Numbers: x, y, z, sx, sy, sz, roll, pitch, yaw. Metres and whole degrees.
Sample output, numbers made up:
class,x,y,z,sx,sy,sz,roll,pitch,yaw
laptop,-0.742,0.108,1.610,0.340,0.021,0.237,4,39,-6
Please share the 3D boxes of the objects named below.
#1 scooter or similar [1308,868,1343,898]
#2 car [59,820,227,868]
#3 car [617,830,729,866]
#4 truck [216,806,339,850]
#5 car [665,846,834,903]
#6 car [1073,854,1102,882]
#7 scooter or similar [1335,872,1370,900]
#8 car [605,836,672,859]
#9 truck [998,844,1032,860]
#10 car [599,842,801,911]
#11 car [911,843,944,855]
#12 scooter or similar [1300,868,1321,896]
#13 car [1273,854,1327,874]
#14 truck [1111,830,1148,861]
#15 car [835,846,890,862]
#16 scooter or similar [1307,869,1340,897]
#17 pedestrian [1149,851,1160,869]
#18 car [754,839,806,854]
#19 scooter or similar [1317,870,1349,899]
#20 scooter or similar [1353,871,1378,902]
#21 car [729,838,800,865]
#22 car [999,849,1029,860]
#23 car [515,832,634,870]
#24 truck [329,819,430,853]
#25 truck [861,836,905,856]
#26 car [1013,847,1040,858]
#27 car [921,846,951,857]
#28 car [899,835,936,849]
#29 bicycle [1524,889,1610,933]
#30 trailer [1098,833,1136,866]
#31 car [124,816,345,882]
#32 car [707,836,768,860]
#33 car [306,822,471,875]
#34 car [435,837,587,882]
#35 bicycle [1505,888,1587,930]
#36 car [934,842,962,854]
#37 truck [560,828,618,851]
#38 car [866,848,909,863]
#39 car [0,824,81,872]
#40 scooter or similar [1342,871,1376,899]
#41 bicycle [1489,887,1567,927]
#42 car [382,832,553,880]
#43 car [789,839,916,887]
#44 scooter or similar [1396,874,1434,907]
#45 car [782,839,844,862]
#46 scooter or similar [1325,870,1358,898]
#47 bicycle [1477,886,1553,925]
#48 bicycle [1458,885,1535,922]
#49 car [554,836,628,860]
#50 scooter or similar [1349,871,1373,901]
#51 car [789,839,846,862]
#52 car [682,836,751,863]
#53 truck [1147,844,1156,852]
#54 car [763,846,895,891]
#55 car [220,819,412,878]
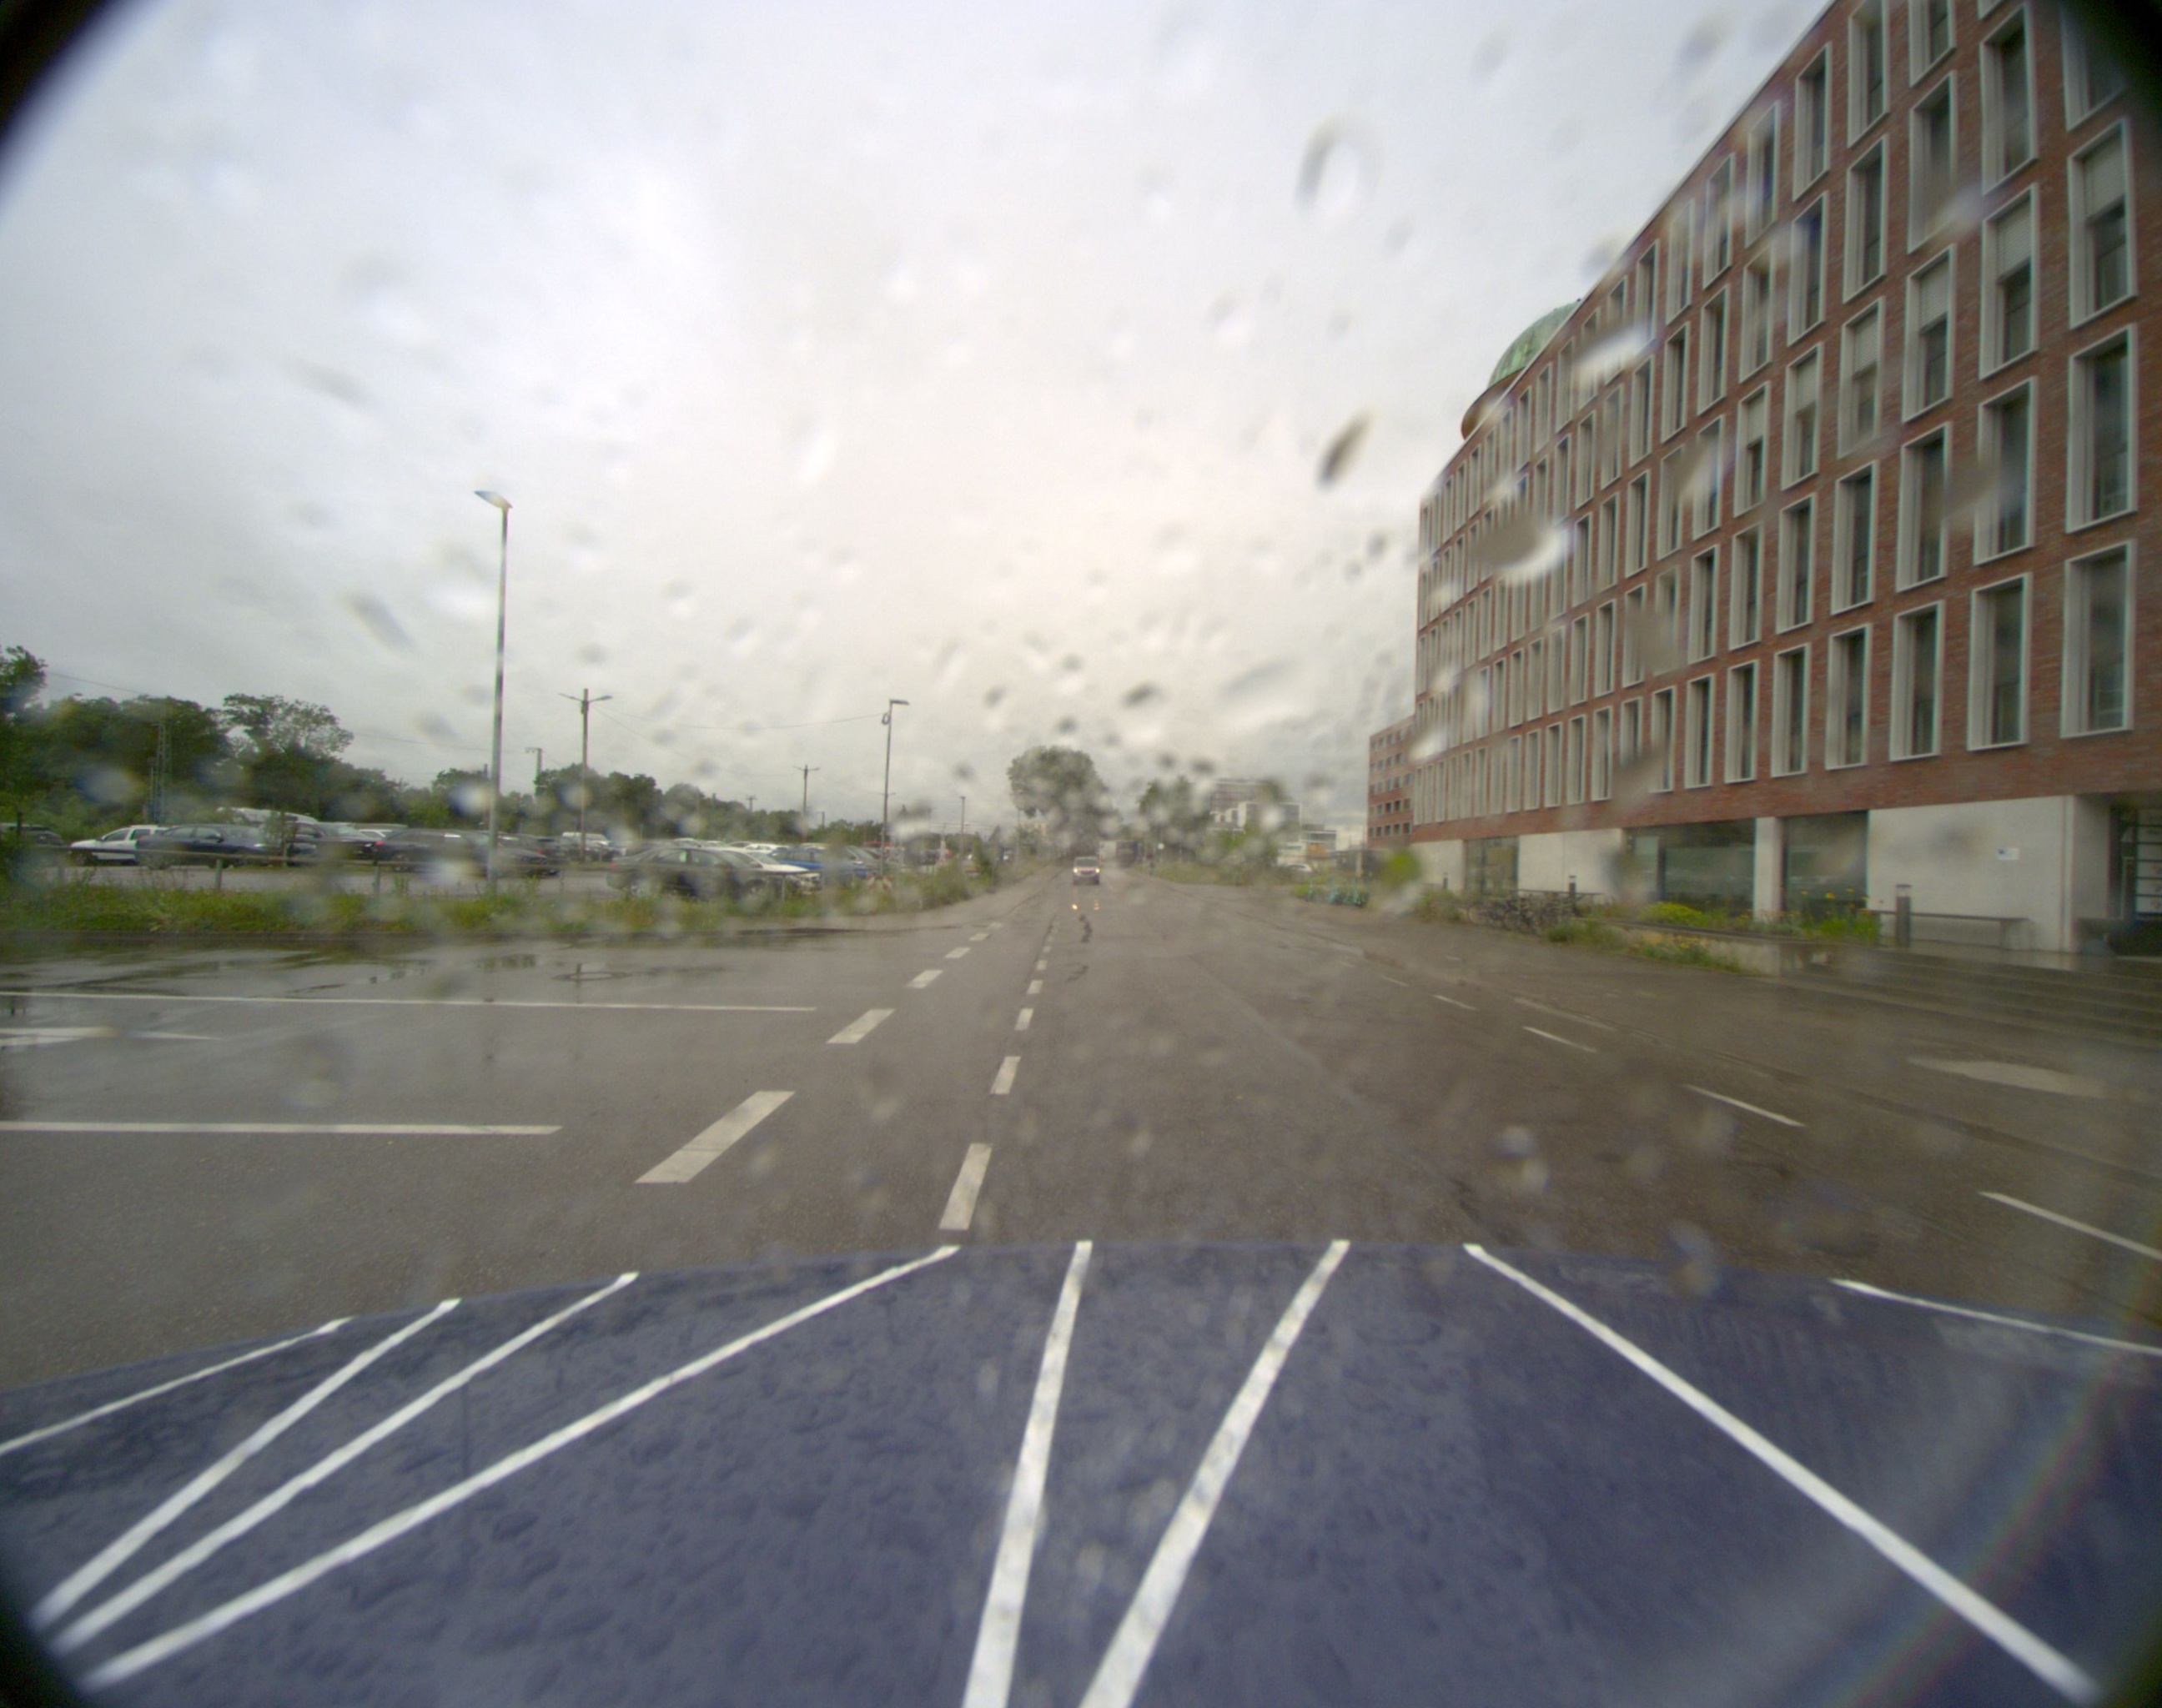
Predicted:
class,x,y,z,sx,sy,sz,roll,pitch,yaw
scooter or similar,10.535,1.253,32.768,1.317,1.223,0.468,3,0,29
car,-37.954,-0.394,30.859,4.000,1.718,1.896,3,0,-9
car,-20.903,-0.312,39.107,4.633,1.706,2.017,1,2,-5
truck,-49.050,-1.537,46.563,2.077,2.388,5.083,3,0,0
car,-9.764,0.587,22.622,4.192,1.501,1.890,1,2,1
car,0.407,0.957,52.130,1.838,1.713,4.173,2,-1,-1
scooter or similar,11.814,1.387,33.054,1.321,1.170,0.467,3,0,-12
car,-37.227,-0.506,63.996,4.329,1.711,2.020,3,1,-2
truck,-10.134,-0.318,117.490,5.047,2.389,2.109,1,1,-2
car,-9.742,0.566,19.769,4.231,1.392,1.888,4,1,-8
car,-20.734,-0.655,102.908,3.961,1.419,1.887,4,2,2
scooter or similar,10.640,1.285,35.281,0.467,1.223,1.320,3,0,-3
car,20.972,0.940,72.955,4.534,1.632,1.999,2,1,-3
truck,7.811,-1.331,121.860,3.295,4.627,6.046,3,1,32
car,-21.047,-0.039,73.326,4.599,1.214,1.978,4,1,-1
scooter or similar,11.441,1.348,35.873,1.316,1.223,0.509,3,0,39
pedestrian,7.310,0.580,75.257,0.911,1.708,1.026,2,1,0
car,-27.792,-0.690,70.286,4.071,1.066,1.831,4,2,-2
scooter or similar,11.265,1.349,33.990,0.468,1.223,1.317,3,0,-28
scooter or similar,11.730,1.340,31.303,0.466,1.201,1.211,3,0,43
car,-21.285,-0.181,51.202,3.838,1.476,1.928,5,2,3
car,-8.818,0.052,99.951,3.781,1.385,1.905,1,2,-2
car,-26.031,-0.178,39.170,4.714,1.596,2.043,4,2,0
truck,-48.982,-1.206,53.229,2.076,2.125,5.086,3,0,5
truck,-26.812,-1.076,102.958,5.302,2.354,2.153,3,1,0
car,-7.908,-0.228,110.474,3.906,1.585,1.896,1,2,-2
car,-21.126,-0.363,110.975,3.961,1.419,1.821,4,2,2
car,-19.661,-1.456,91.400,3.961,1.481,1.778,4,2,2
bicycle,12.375,1.455,19.369,1.864,1.071,0.544,0,1,-1
trailer,5.592,-0.660,114.914,3.298,4.627,13.747,3,0,13
car,-26.363,-0.161,23.810,4.453,1.663,2.042,4,2,-3
car,-27.888,-0.498,61.768,4.071,1.650,1.831,4,2,-2
car,-26.688,-0.240,29.410,4.452,1.663,2.043,4,2,0
car,-20.537,0.161,27.507,3.997,1.477,2.000,1,2,1
bicycle,12.397,1.464,20.288,1.864,1.071,0.544,0,1,-1
car,-20.952,-0.967,119.591,3.961,1.528,1.807,4,2,2
truck,-47.888,-1.409,74.132,2.086,2.002,5.280,3,0,2
car,-19.831,0.173,77.846,3.896,1.214,1.648,4,2,5
car,-37.517,-0.277,25.766,4.598,1.559,1.942,2,-1,0
scooter or similar,12.535,1.395,34.294,1.319,1.170,0.467,3,0,6
bicycle,12.409,1.466,21.114,1.864,1.071,0.544,0,1,-1
car,-19.965,0.035,24.860,3.997,1.401,2.000,1,2,1
car,-9.687,0.358,32.451,4.691,1.725,2.128,3,2,5
scooter or similar,12.960,1.413,29.458,1.228,1.201,0.418,3,0,7
car,-20.780,-0.272,58.978,4.054,1.476,1.928,5,2,3
scooter or similar,11.957,1.372,34.853,1.319,1.170,0.467,3,0,6
bicycle,12.399,1.459,21.749,1.864,1.071,0.544,0,1,-1
bicycle,12.383,1.473,22.692,1.953,1.071,0.620,0,1,-1
car,-37.466,-0.464,58.163,4.329,1.580,2.021,3,0,-1
scooter or similar,11.823,1.344,32.033,0.466,1.223,1.211,3,0,43
car,-21.531,-0.275,62.214,3.912,1.575,1.786,5,2,3
car,-26.682,-0.337,55.694,4.070,1.596,1.926,4,2,1
truck,22.655,-1.881,243.998,2.090,2.604,6.976,3,0,-1
car,-9.397,0.534,28.524,4.306,1.508,1.819,1,2,1
car,-26.466,-0.207,26.421,4.453,1.663,2.042,4,2,-3
